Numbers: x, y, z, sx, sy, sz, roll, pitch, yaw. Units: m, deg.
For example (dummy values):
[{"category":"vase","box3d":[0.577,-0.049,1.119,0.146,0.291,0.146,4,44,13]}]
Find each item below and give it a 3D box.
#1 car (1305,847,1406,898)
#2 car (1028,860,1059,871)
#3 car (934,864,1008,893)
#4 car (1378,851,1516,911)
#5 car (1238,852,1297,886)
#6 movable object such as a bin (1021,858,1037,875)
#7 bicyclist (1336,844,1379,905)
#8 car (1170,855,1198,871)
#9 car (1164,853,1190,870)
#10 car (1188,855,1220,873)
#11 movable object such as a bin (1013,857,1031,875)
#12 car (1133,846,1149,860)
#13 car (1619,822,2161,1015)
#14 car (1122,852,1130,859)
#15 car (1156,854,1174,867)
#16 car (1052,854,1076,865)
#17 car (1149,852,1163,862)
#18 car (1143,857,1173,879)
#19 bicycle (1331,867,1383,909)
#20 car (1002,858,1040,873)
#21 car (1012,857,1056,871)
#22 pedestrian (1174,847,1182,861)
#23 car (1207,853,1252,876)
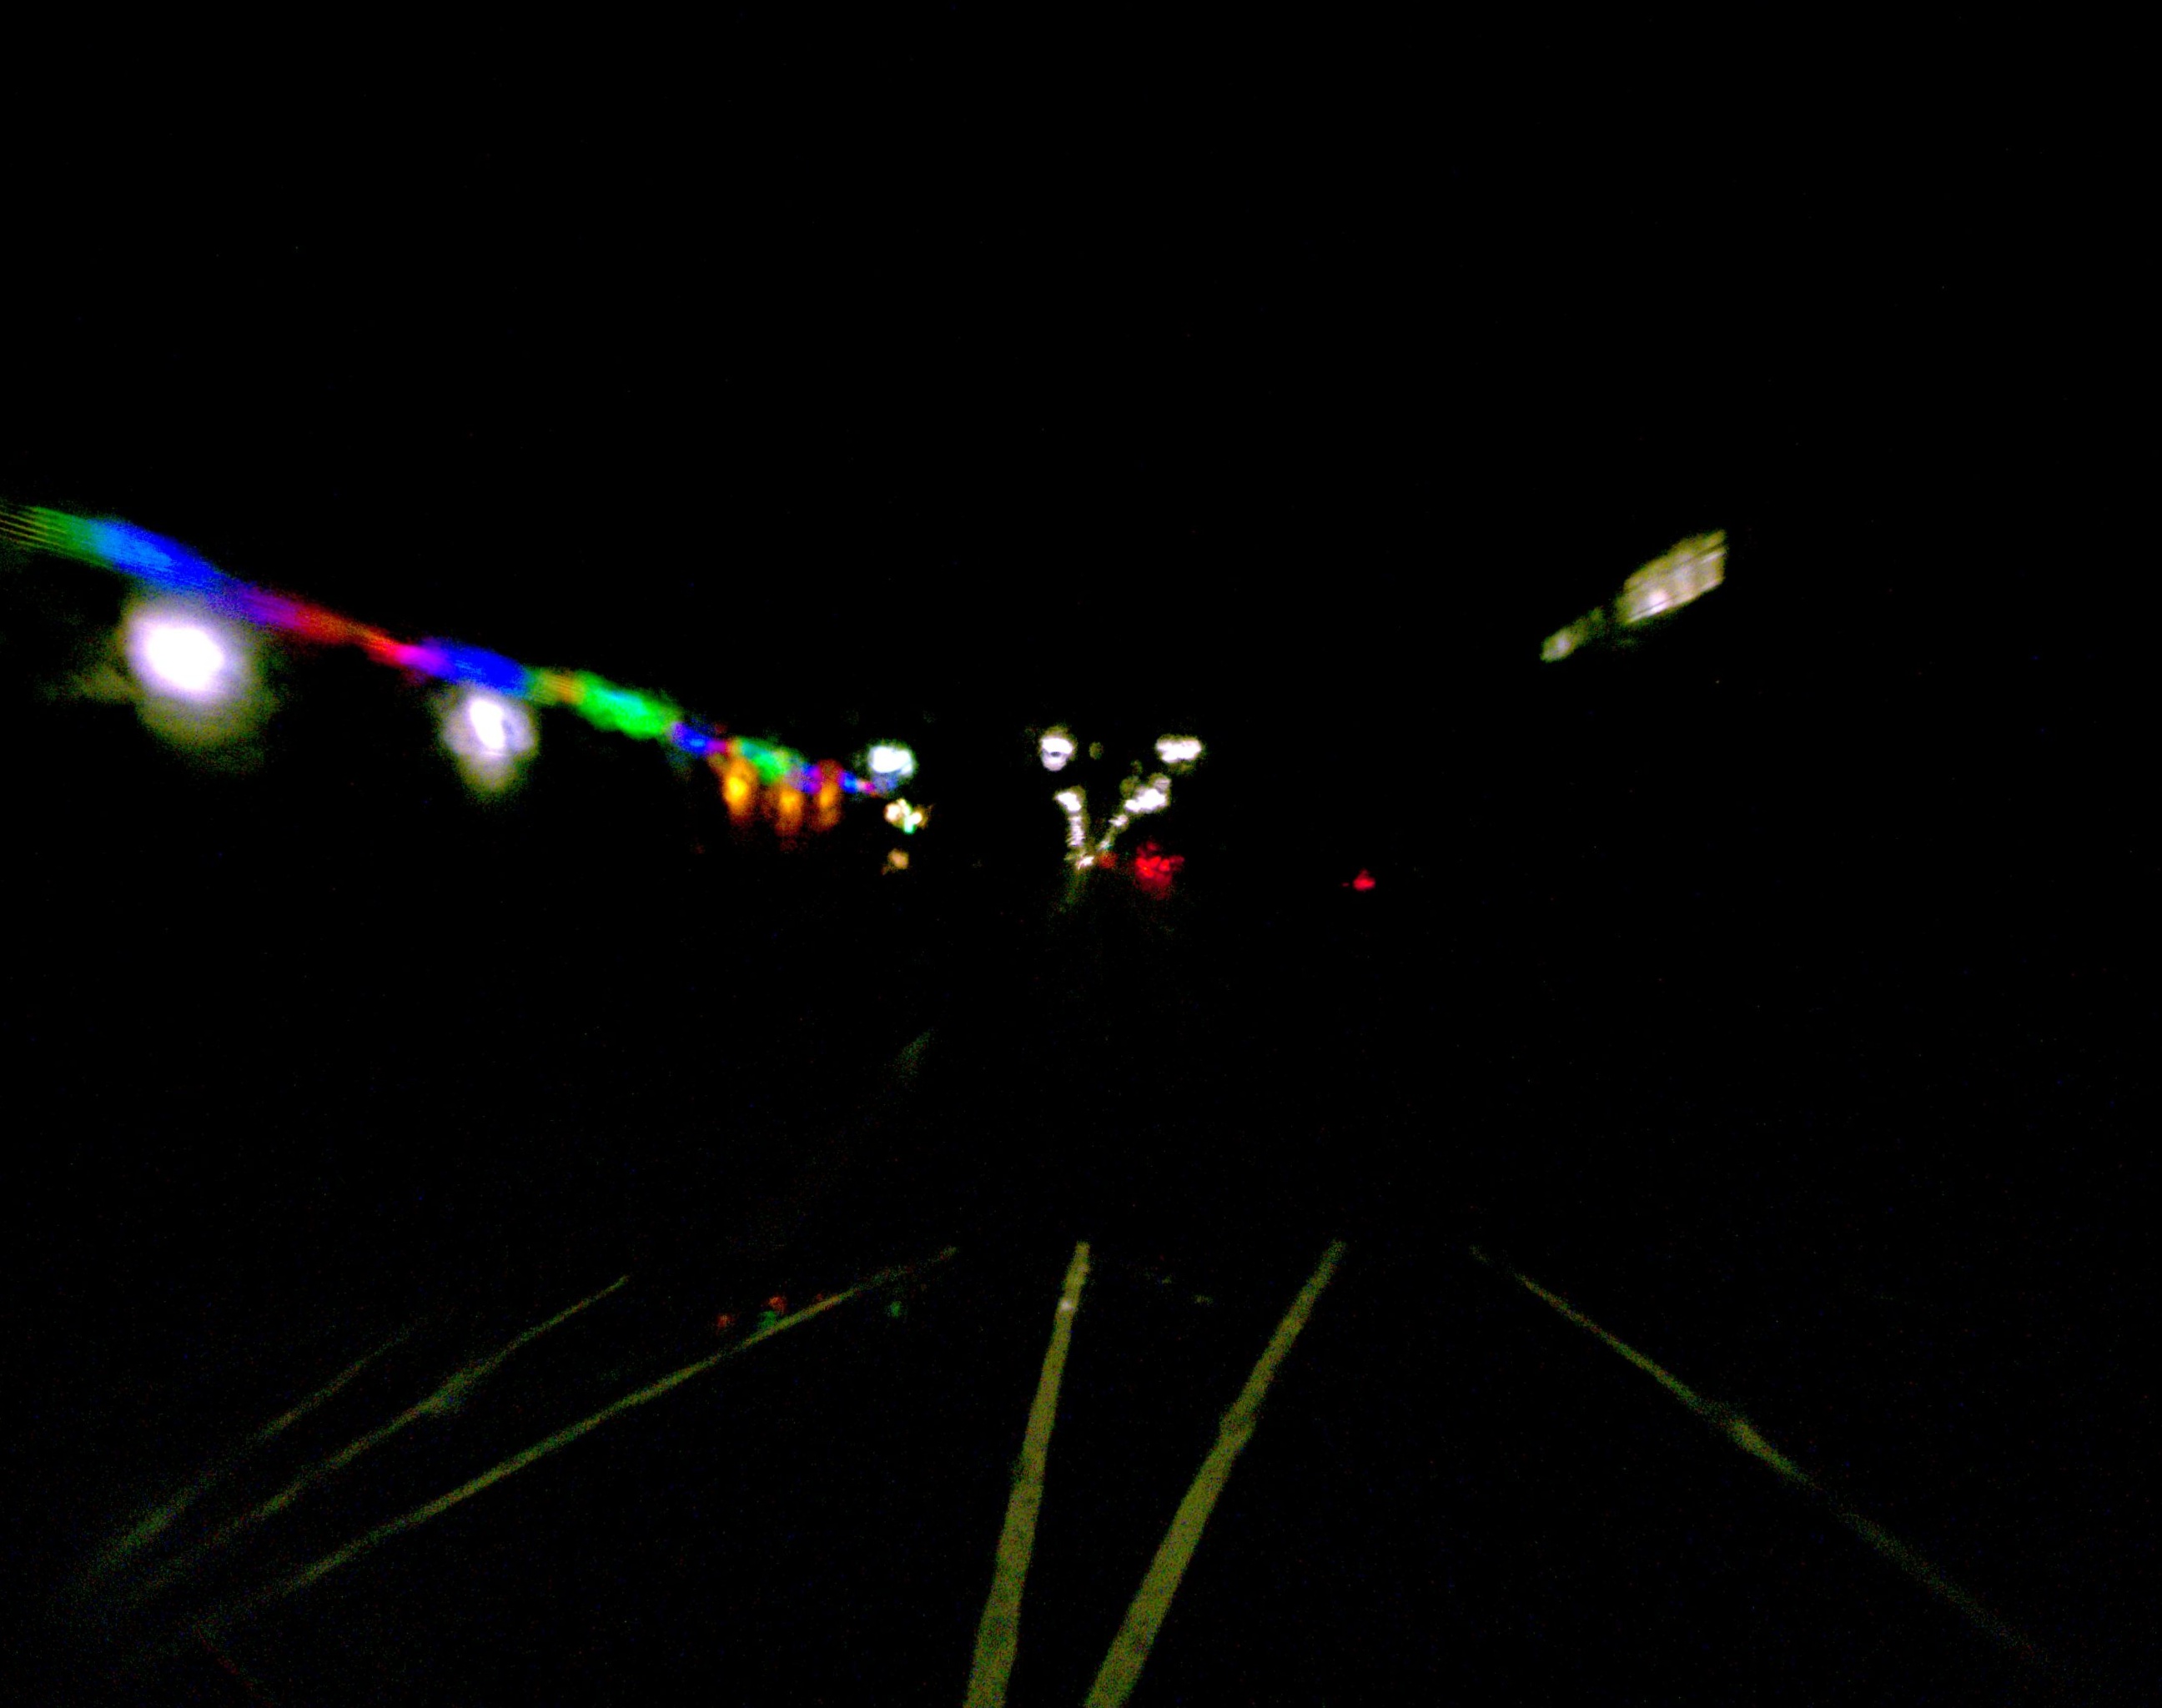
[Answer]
[{"category":"car","box3d":[9.820,0.589,27.582,1.988,1.622,4.516,-2,1,1]},{"category":"car","box3d":[-5.470,1.636,112.127,4.349,1.459,1.677,-2,1,-38]},{"category":"car","box3d":[-6.833,1.479,47.334,4.110,1.528,1.956,-3,1,-24]},{"category":"car","box3d":[9.675,0.660,20.459,1.695,1.413,3.913,-2,0,-2]},{"category":"car","box3d":[10.036,0.744,41.214,1.885,1.536,4.398,-6,1,-2]},{"category":"movable object such as a bin","box3d":[-4.491,1.064,65.728,1.326,1.400,1.159,-1,1,-5]},{"category":"bicyclist","box3d":[7.678,0.540,21.159,0.784,1.646,1.206,0,1,1]},{"category":"car","box3d":[9.913,0.807,73.313,1.778,1.432,4.606,-2,0,-3]},{"category":"car","box3d":[10.669,0.840,84.846,2.149,1.610,4.588,-5,1,0]},{"category":"car","box3d":[10.321,0.824,63.889,1.845,1.415,4.208,-2,0,-2]},{"category":"movable object such as a bin","box3d":[-4.938,1.002,63.678,1.371,1.414,1.073,-1,1,6]},{"category":"car","box3d":[11.562,-0.246,147.183,2.248,2.494,5.259,-4,1,-2]},{"category":"car","box3d":[9.208,0.577,9.322,1.974,1.646,4.601,-4,1,2]},{"category":"car","box3d":[11.171,0.451,189.247,1.693,1.565,3.918,-2,1,1]},{"category":"car","box3d":[10.410,0.798,94.015,1.735,1.430,4.625,-2,1,1]},{"category":"car","box3d":[-2.768,0.888,125.188,1.707,1.503,3.914,-2,1,44]},{"category":"car","box3d":[11.184,0.409,113.847,1.723,1.447,3.950,-2,1,0]},{"category":"car","box3d":[5.575,0.981,55.310,1.780,1.509,4.051,-2,0,1]},{"category":"bicycle","box3d":[7.680,0.924,21.236,0.784,1.076,1.918,0,1,1]},{"category":"car","box3d":[-6.446,1.182,81.326,3.708,1.509,1.656,-1,0,-18]},{"category":"car","box3d":[-5.233,1.067,84.262,4.604,1.467,1.837,-1,0,-19]},{"category":"pedestrian","box3d":[12.884,-0.033,100.863,0.794,1.890,1.290,-2,1,1]},{"category":"car","box3d":[10.380,0.691,53.637,1.893,1.454,4.958,-2,0,-4]}]
